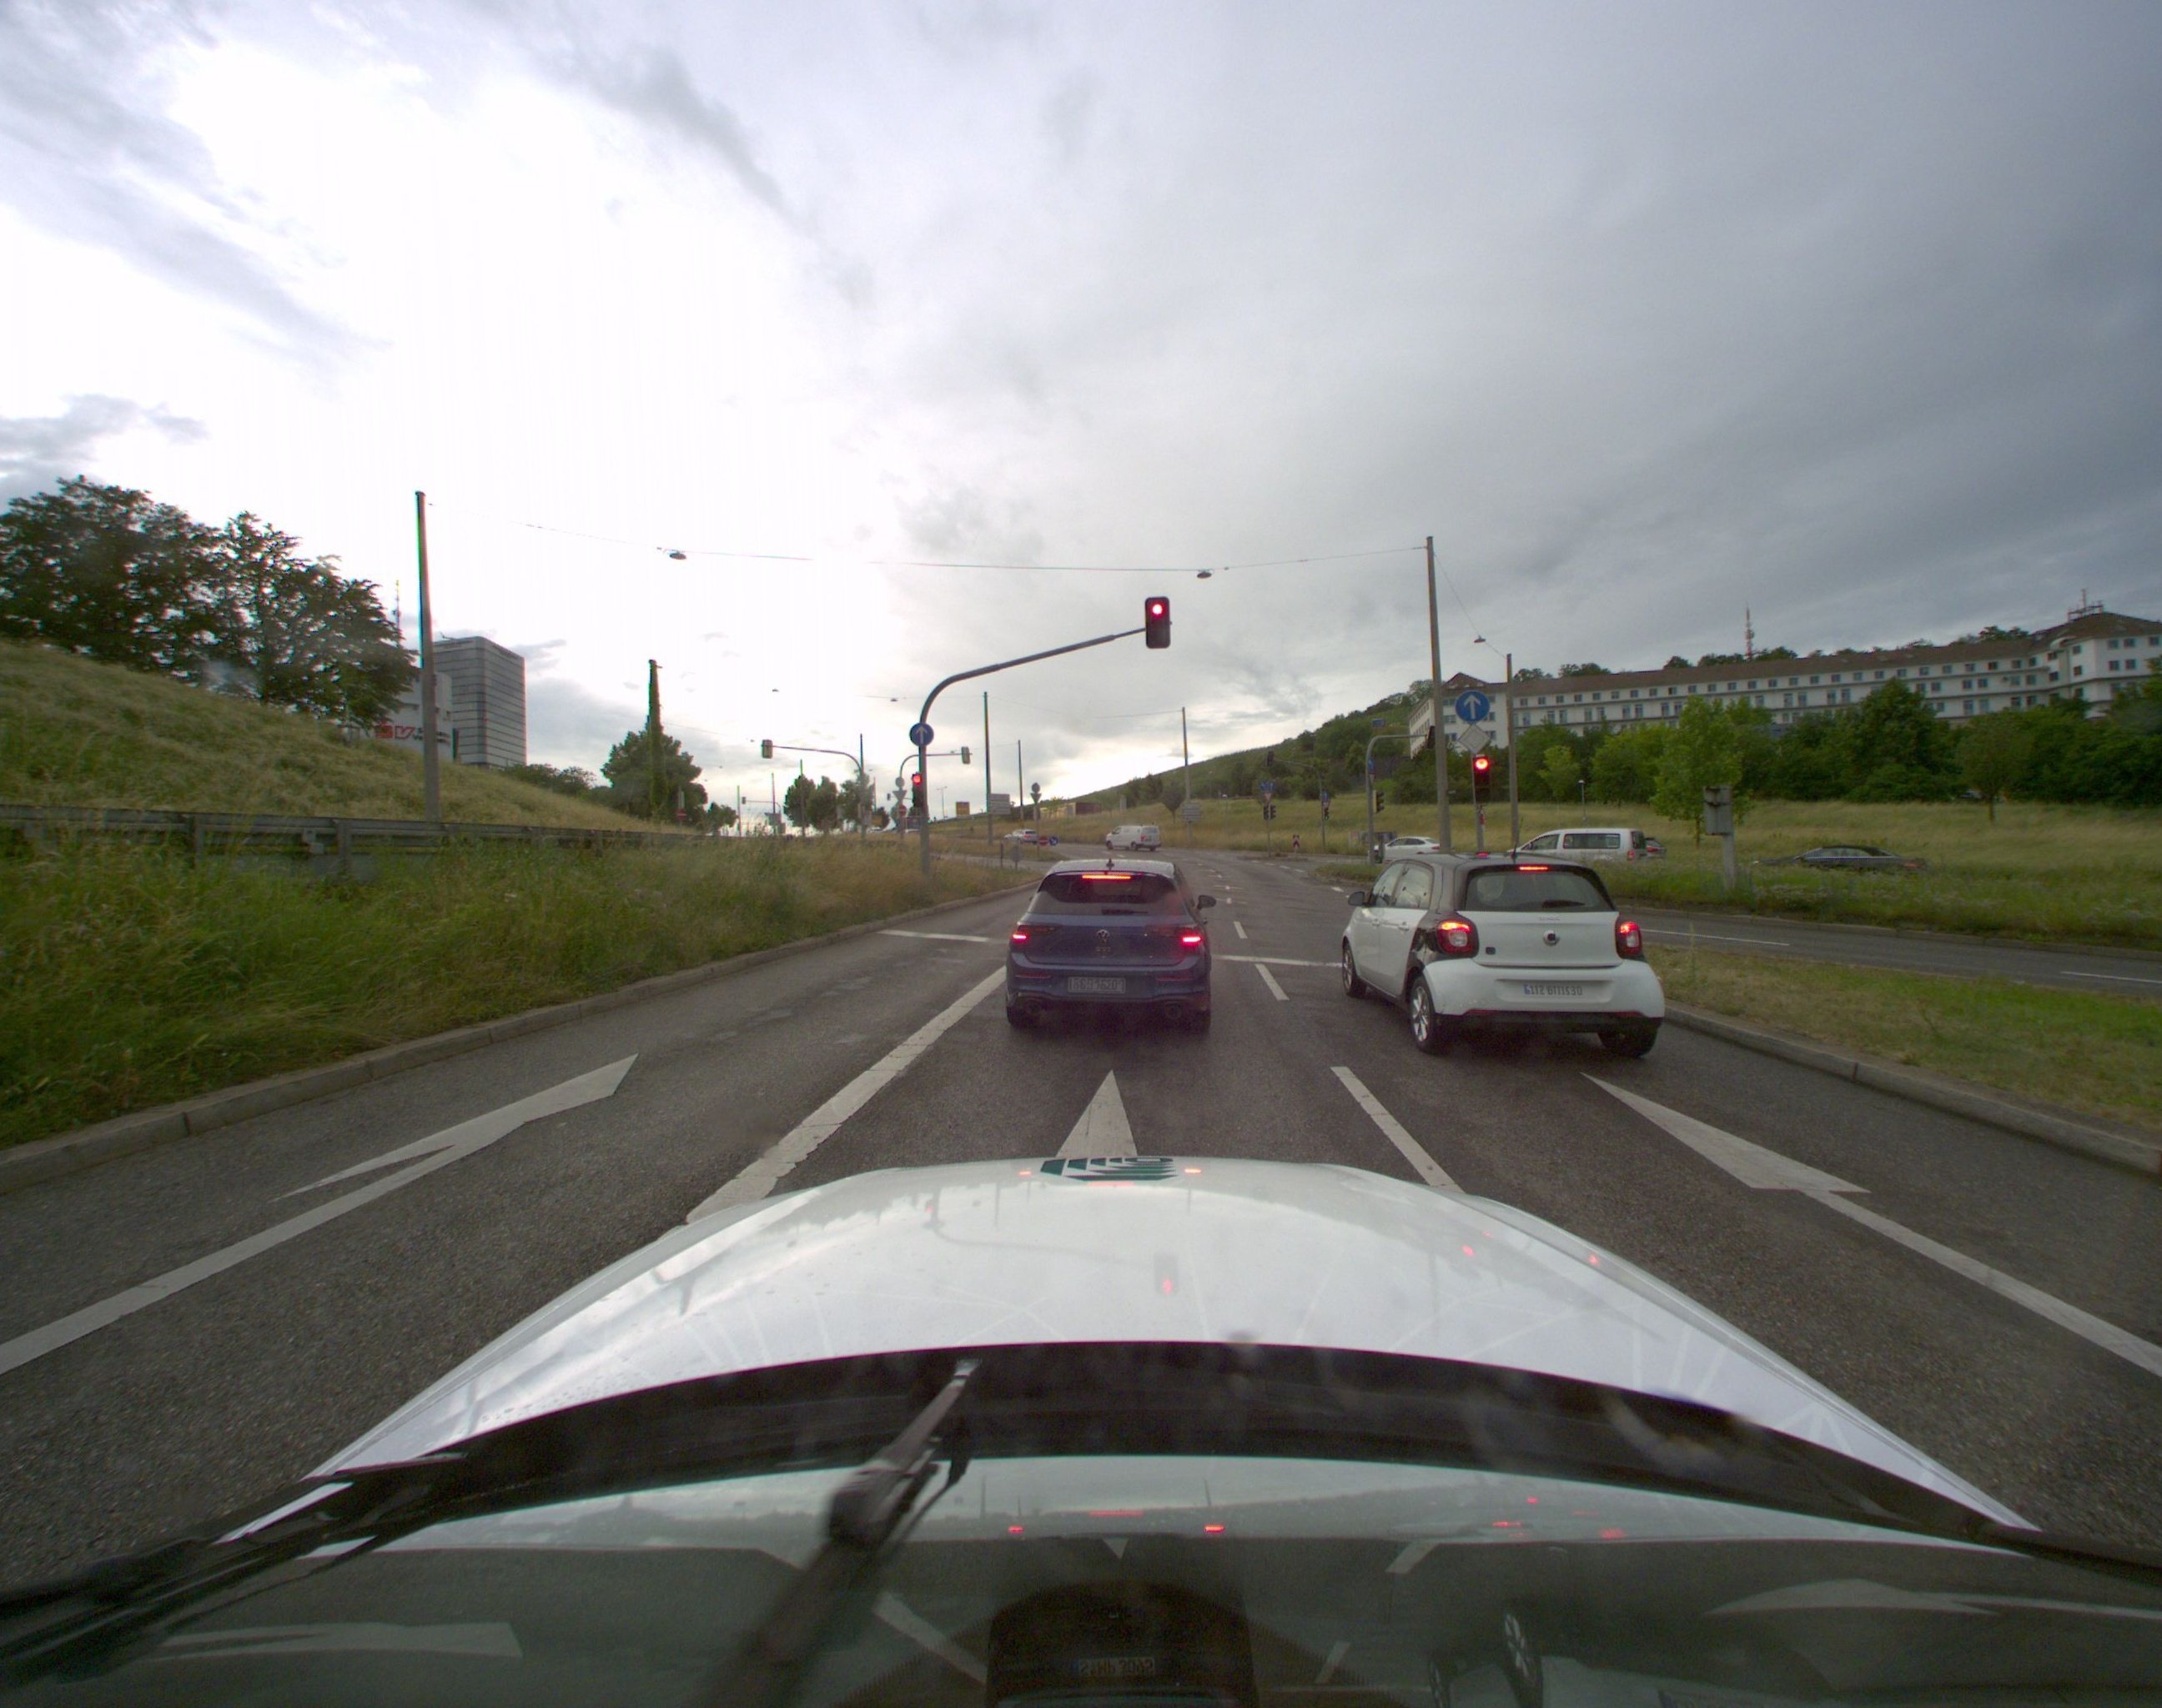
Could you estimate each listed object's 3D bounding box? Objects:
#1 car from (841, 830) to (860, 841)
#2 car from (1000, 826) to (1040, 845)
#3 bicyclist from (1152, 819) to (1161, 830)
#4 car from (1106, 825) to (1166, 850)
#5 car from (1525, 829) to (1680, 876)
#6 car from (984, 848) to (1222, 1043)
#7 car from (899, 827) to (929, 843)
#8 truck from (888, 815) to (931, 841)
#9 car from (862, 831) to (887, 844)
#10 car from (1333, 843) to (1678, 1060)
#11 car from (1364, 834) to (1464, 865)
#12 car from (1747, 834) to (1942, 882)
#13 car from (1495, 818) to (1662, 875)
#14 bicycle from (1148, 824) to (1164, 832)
[{"bbox_3d":[-37.676,-2.945,133.122,2.005,1.659,4.502,0,-1,-29],"label":"car"},{"bbox_3d":[-5.933,-1.796,78.873,2.007,1.659,4.498,0,-1,-33],"label":"car"},{"bbox_3d":[7.508,-2.899,80.994,0.527,1.046,0.574,2,0,-39],"label":"bicyclist"},{"bbox_3d":[4.148,-1.277,61.819,2.143,1.794,4.693,2,1,-33],"label":"car"},{"bbox_3d":[19.395,-0.021,30.474,2.010,1.620,4.472,0,-1,-39],"label":"car"},{"bbox_3d":[0.365,0.685,8.145,1.816,1.460,3.815,-1,1,6],"label":"car"},{"bbox_3d":[-19.149,-2.106,93.190,2.007,1.659,4.308,0,-1,-33],"label":"car"},{"bbox_3d":[-21.928,-3.334,103.947,3.281,3.074,6.112,2,0,-34],"label":"truck"},{"bbox_3d":[-29.884,-2.370,117.784,2.008,1.659,4.496,0,-1,-34],"label":"car"},{"bbox_3d":[3.498,0.695,7.443,1.649,1.503,3.457,-1,-1,6],"label":"car"},{"bbox_3d":[16.910,-0.195,41.536,2.008,1.477,4.374,0,-1,-34],"label":"car"},{"bbox_3d":[25.722,0.161,27.609,2.007,1.477,4.456,0,-1,-33],"label":"car"},{"bbox_3d":[17.333,-0.208,28.561,1.831,1.850,4.642,0,-1,-41],"label":"car"},{"bbox_3d":[7.459,-2.561,81.032,0.522,0.775,1.602,2,1,-40],"label":"bicycle"}]
